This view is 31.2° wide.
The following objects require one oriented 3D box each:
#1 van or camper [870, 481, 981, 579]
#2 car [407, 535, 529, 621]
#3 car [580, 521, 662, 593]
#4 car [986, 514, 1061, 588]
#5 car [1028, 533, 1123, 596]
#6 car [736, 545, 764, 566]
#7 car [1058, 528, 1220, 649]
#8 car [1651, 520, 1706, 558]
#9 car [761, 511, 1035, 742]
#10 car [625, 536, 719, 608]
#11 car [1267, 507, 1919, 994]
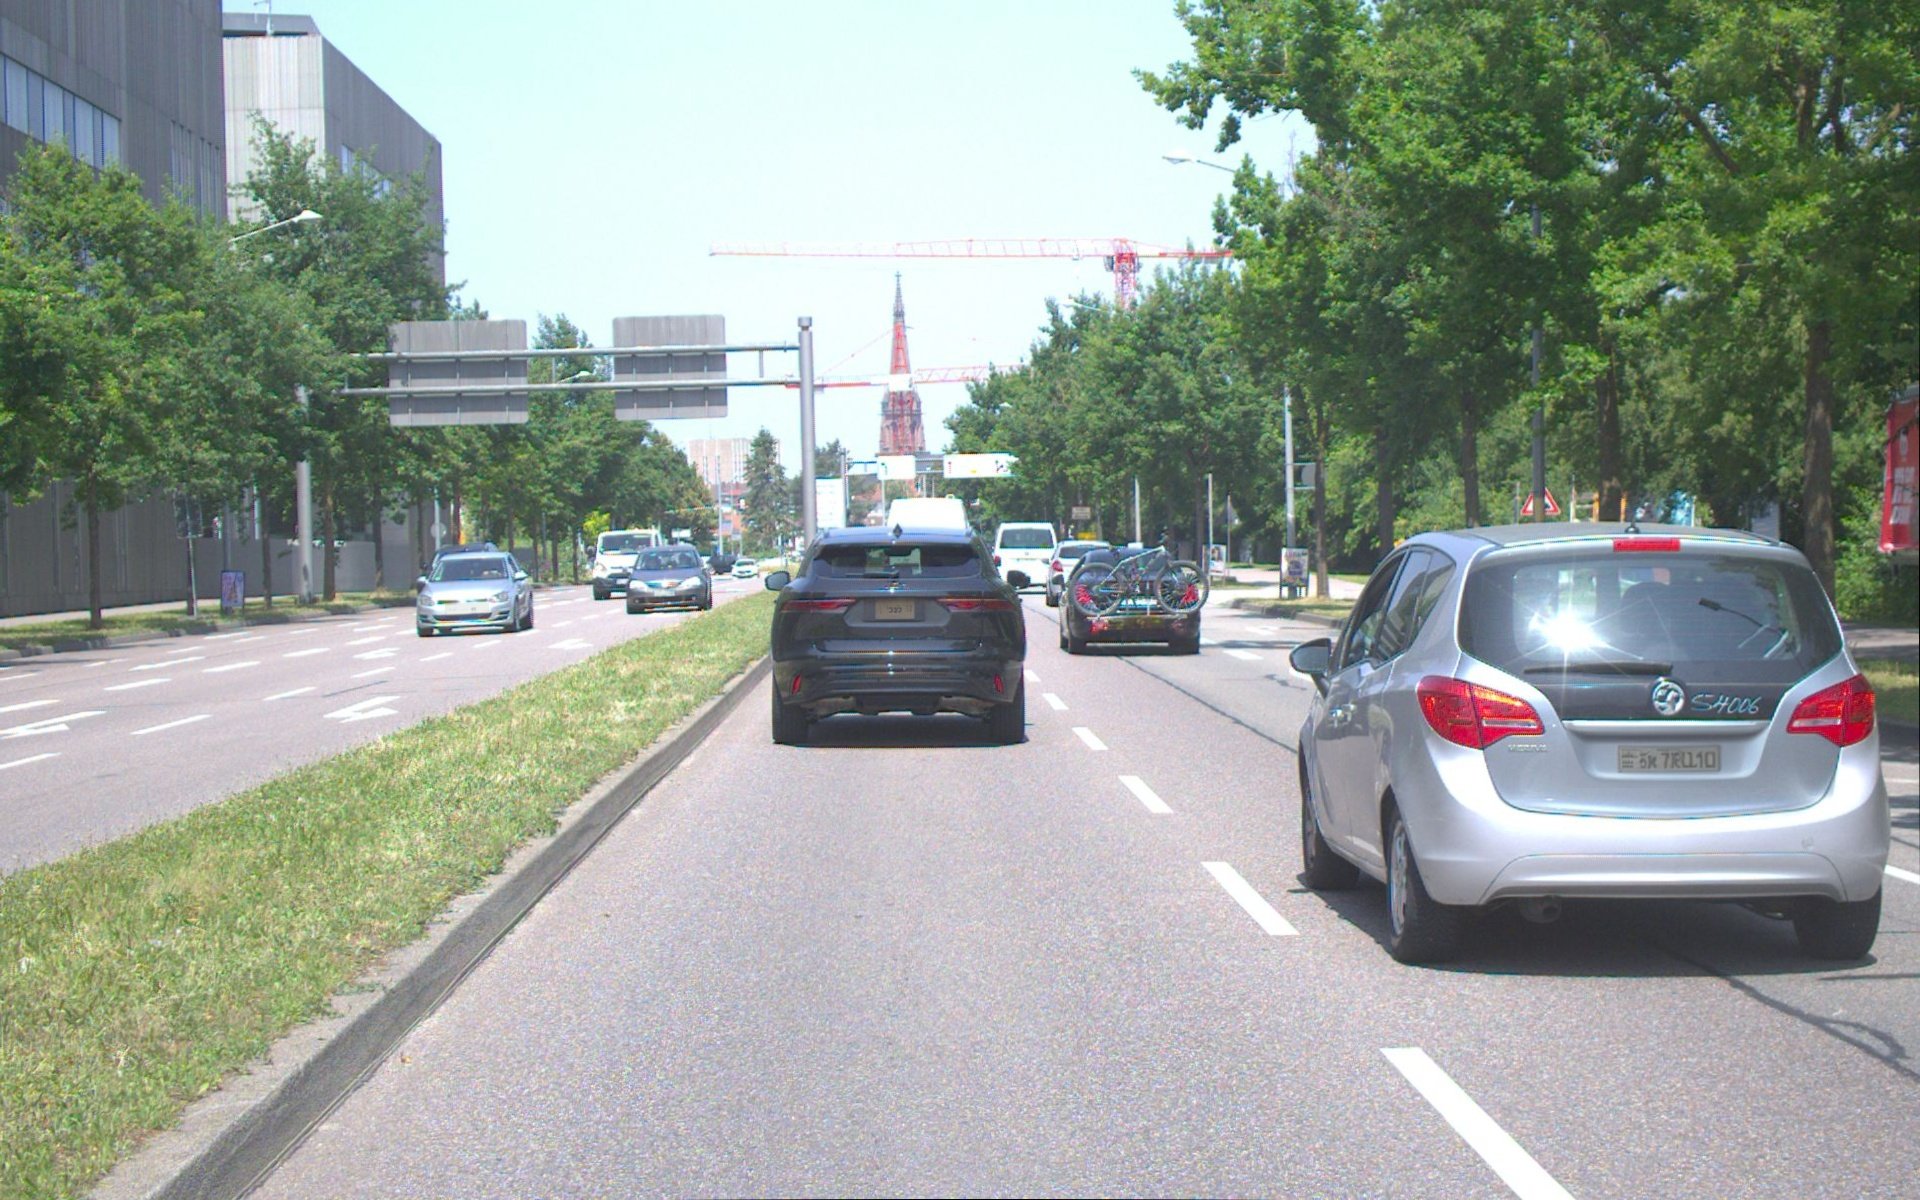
[{"bbox_3d":[-0.892,-1.686,84.102,2.493,2.283,4.921,-1,1,-2],"label":"van or camper"},{"bbox_3d":[-8.933,-0.424,62.714,1.765,1.455,4.146,-3,1,-3],"label":"car"},{"bbox_3d":[-9.927,-1.288,101.045,1.909,1.986,4.898,-3,1,-1],"label":"car"},{"bbox_3d":[1.757,-1.377,96.513,1.993,2.007,4.000,-1,1,0],"label":"car"},{"bbox_3d":[2.621,-0.809,78.874,1.654,1.351,4.461,-1,1,-5],"label":"car"},{"bbox_3d":[-14.642,-3.122,240.165,1.810,1.422,4.359,-3,1,-3],"label":"car"},{"bbox_3d":[2.366,-0.170,46.481,2.014,1.512,4.460,-1,1,1],"label":"car"},{"bbox_3d":[23.091,-1.963,110.549,1.380,1.183,3.302,-1,1,6],"label":"car"},{"bbox_3d":[-0.432,0.159,27.083,1.998,1.684,4.034,0,1,1],"label":"car"},{"bbox_3d":[-6.298,-0.627,75.558,1.810,1.461,4.058,-3,1,-2],"label":"car"},{"bbox_3d":[2.360,0.467,13.564,1.792,1.606,3.891,-1,1,-2],"label":"car"}]
